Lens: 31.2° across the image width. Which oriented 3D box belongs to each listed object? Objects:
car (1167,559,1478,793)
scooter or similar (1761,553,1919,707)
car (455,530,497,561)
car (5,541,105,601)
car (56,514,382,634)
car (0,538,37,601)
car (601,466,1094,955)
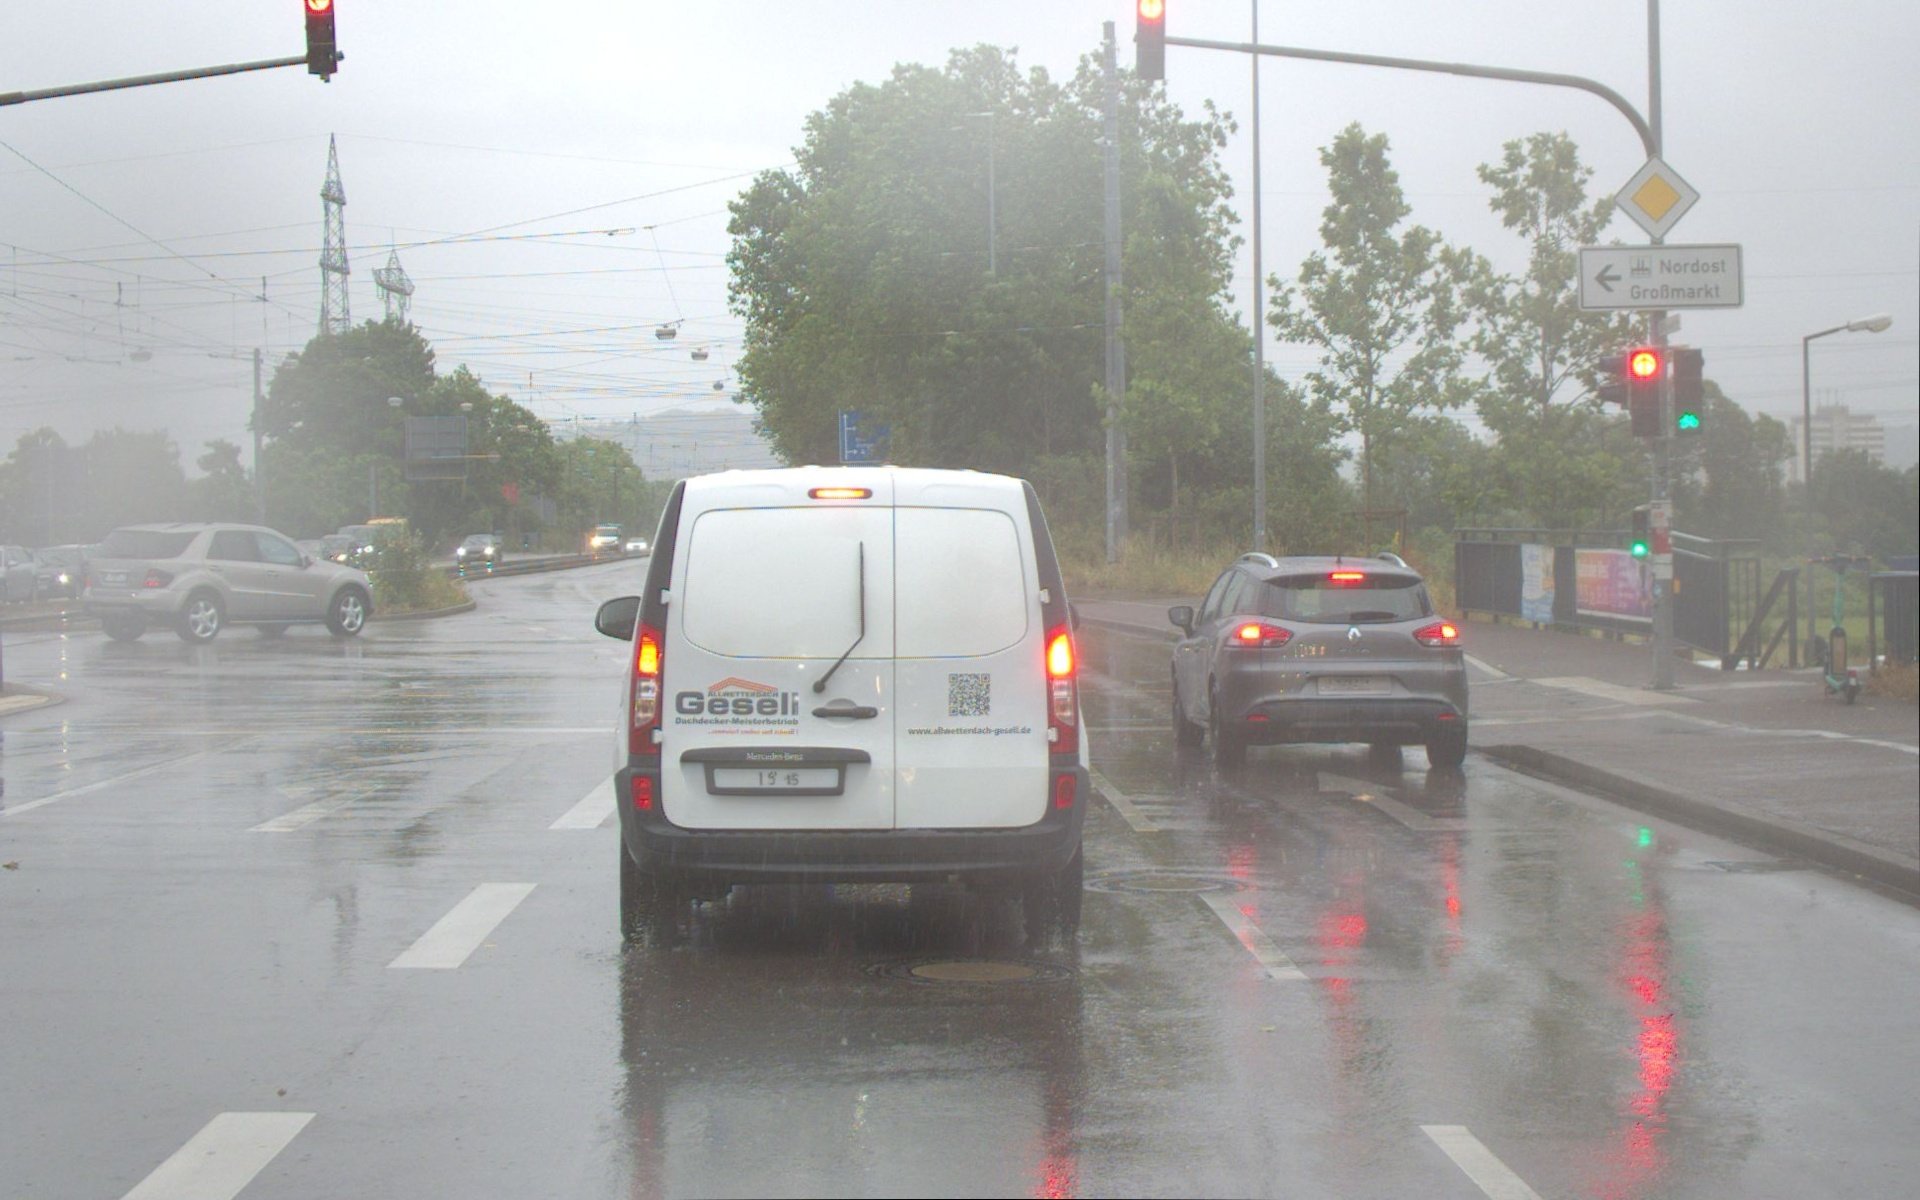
[{"bbox_3d":[2.491,0.478,24.452,1.684,1.503,3.921,1,1,-1],"label":"car"},{"bbox_3d":[7.391,0.217,28.748,0.690,1.207,3.020,-1,1,1],"label":"scooter or similar"},{"bbox_3d":[-23.960,-2.694,170.302,1.559,1.421,3.569,2,0,-1],"label":"car"},{"bbox_3d":[-22.684,-0.720,86.299,1.559,1.421,3.569,2,0,-1],"label":"car"},{"bbox_3d":[-11.080,-0.364,51.622,1.952,1.656,4.453,1,-1,42],"label":"car"},{"bbox_3d":[-22.541,-0.712,79.218,1.559,1.421,3.569,2,0,-1],"label":"car"},{"bbox_3d":[-0.549,0.344,14.395,1.754,1.744,4.170,0,1,-4],"label":"car"}]
